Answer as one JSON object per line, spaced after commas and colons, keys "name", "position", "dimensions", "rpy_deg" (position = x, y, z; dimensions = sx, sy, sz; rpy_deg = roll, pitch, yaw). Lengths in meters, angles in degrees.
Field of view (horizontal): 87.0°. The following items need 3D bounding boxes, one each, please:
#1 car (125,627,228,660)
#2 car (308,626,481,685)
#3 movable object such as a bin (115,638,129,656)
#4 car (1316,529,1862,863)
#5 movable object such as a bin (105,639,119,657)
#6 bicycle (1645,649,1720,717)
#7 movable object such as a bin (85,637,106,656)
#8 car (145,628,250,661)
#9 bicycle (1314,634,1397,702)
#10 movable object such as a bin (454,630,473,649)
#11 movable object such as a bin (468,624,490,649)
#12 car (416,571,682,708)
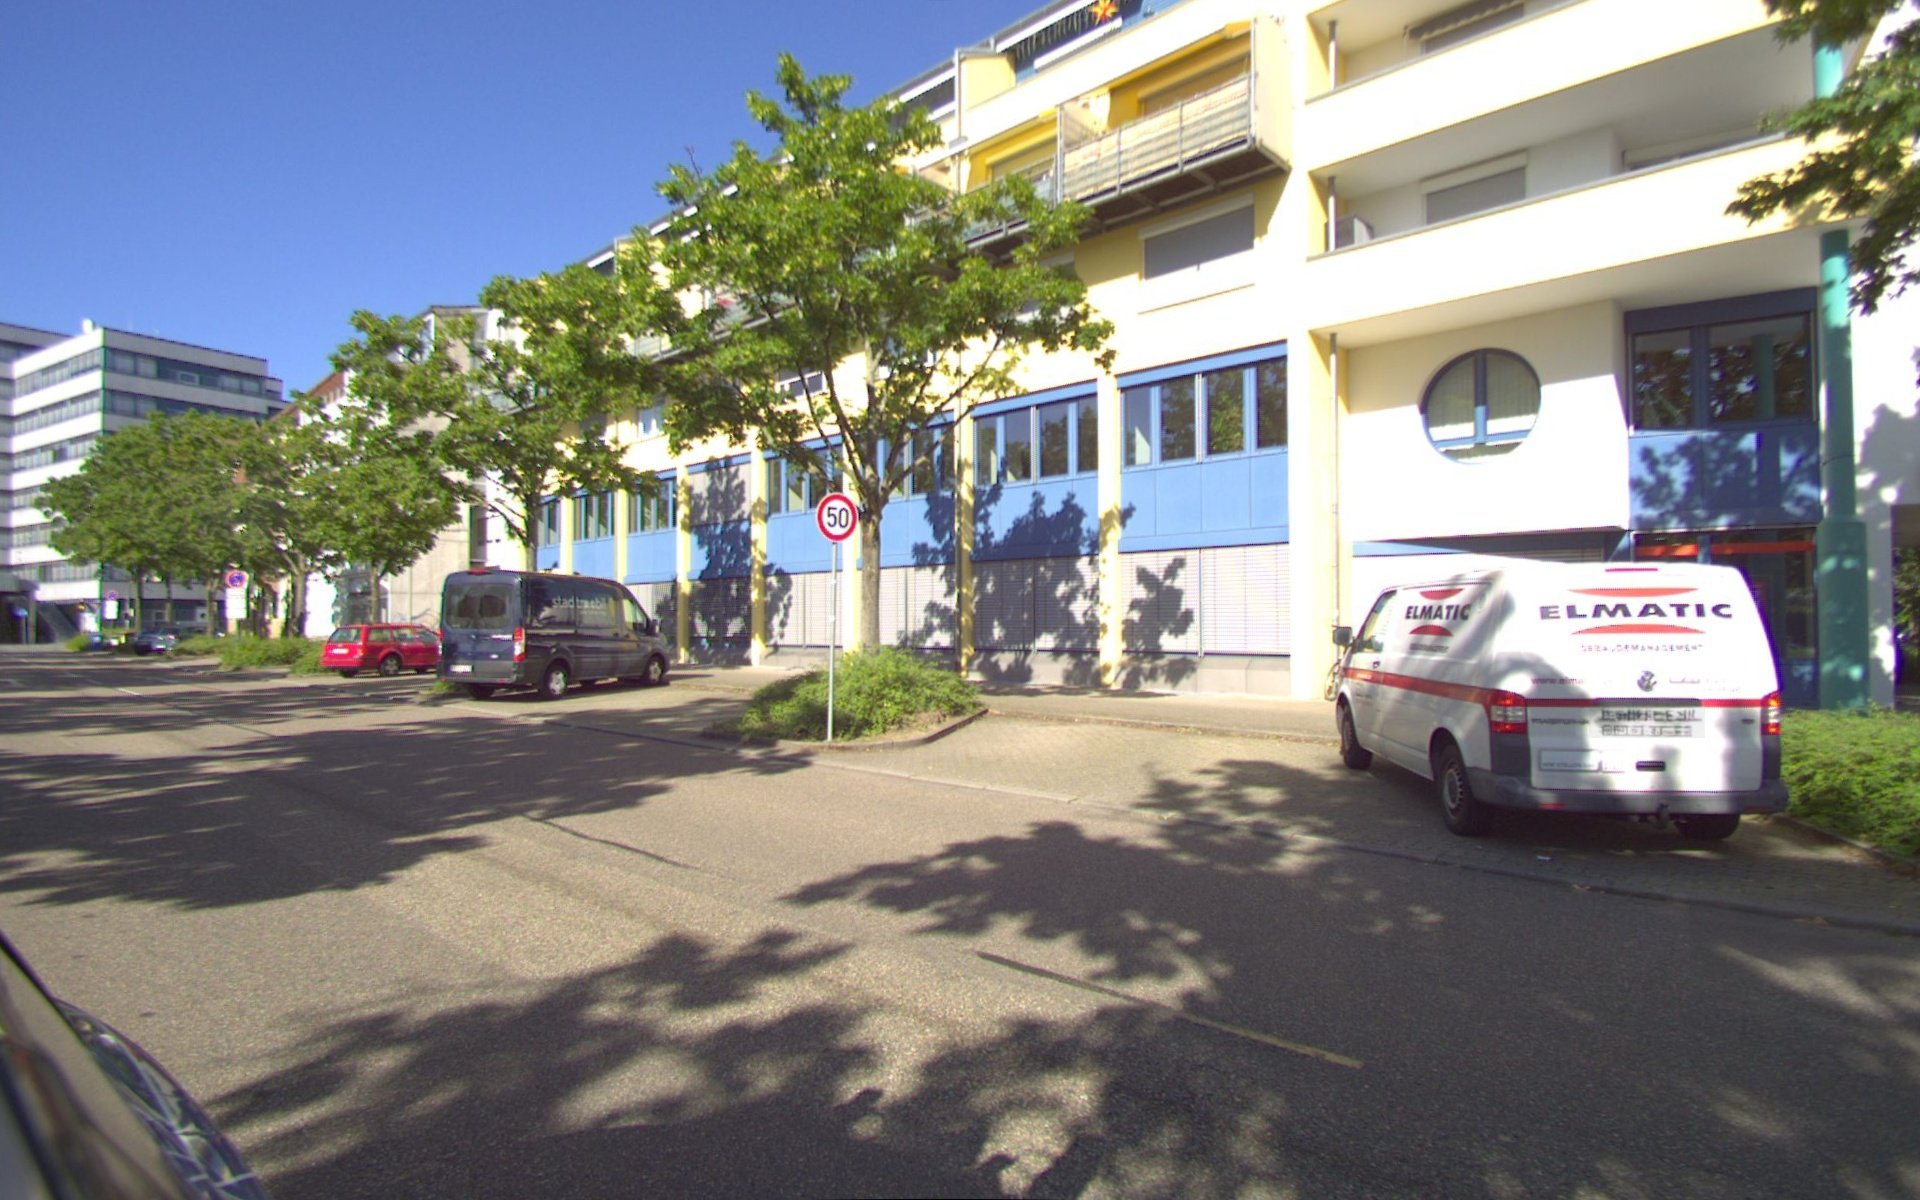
{"name": "car", "position": [-39.608, 2.188, 51.281], "dimensions": [1.791, 1.475, 3.988], "rpy_deg": [-1, 0, 9]}
{"name": "car", "position": [-15.956, 1.519, 28.823], "dimensions": [1.756, 1.487, 4.207], "rpy_deg": [-2, -1, 19]}
{"name": "movable object such as a bin", "position": [-48.899, 2.729, 59.052], "dimensions": [0.469, 1.048, 0.544], "rpy_deg": [-1, 0, -22]}
{"name": "car", "position": [4.646, 0.641, 8.567], "dimensions": [1.976, 2.000, 4.761], "rpy_deg": [-2, -1, 6]}
{"name": "movable object such as a bin", "position": [-48.798, 2.762, 58.213], "dimensions": [0.469, 0.967, 0.544], "rpy_deg": [-1, 0, -23]}
{"name": "bicycle", "position": [10.726, 1.205, 15.071], "dimensions": [0.489, 0.878, 1.790], "rpy_deg": [-1, -1, 22]}
{"name": "movable object such as a bin", "position": [-49.495, 2.642, 57.929], "dimensions": [0.664, 1.082, 0.805], "rpy_deg": [1, -2, -22]}
{"name": "car", "position": [-37.089, 2.145, 49.375], "dimensions": [1.791, 1.475, 3.988], "rpy_deg": [-1, 0, 9]}
{"name": "bicycle", "position": [6.785, 1.143, 17.326], "dimensions": [0.702, 1.106, 1.778], "rpy_deg": [-2, -4, 44]}
{"name": "movable object such as a bin", "position": [-25.344, 2.005, 51.668], "dimensions": [0.689, 0.980, 0.614], "rpy_deg": [-2, -3, 39]}
{"name": "movable object such as a bin", "position": [-24.922, 1.899, 52.401], "dimensions": [1.119, 1.289, 0.614], "rpy_deg": [-2, -3, 39]}
{"name": "car", "position": [-8.268, 0.752, 21.092], "dimensions": [2.168, 2.455, 5.474], "rpy_deg": [-2, -1, 17]}
